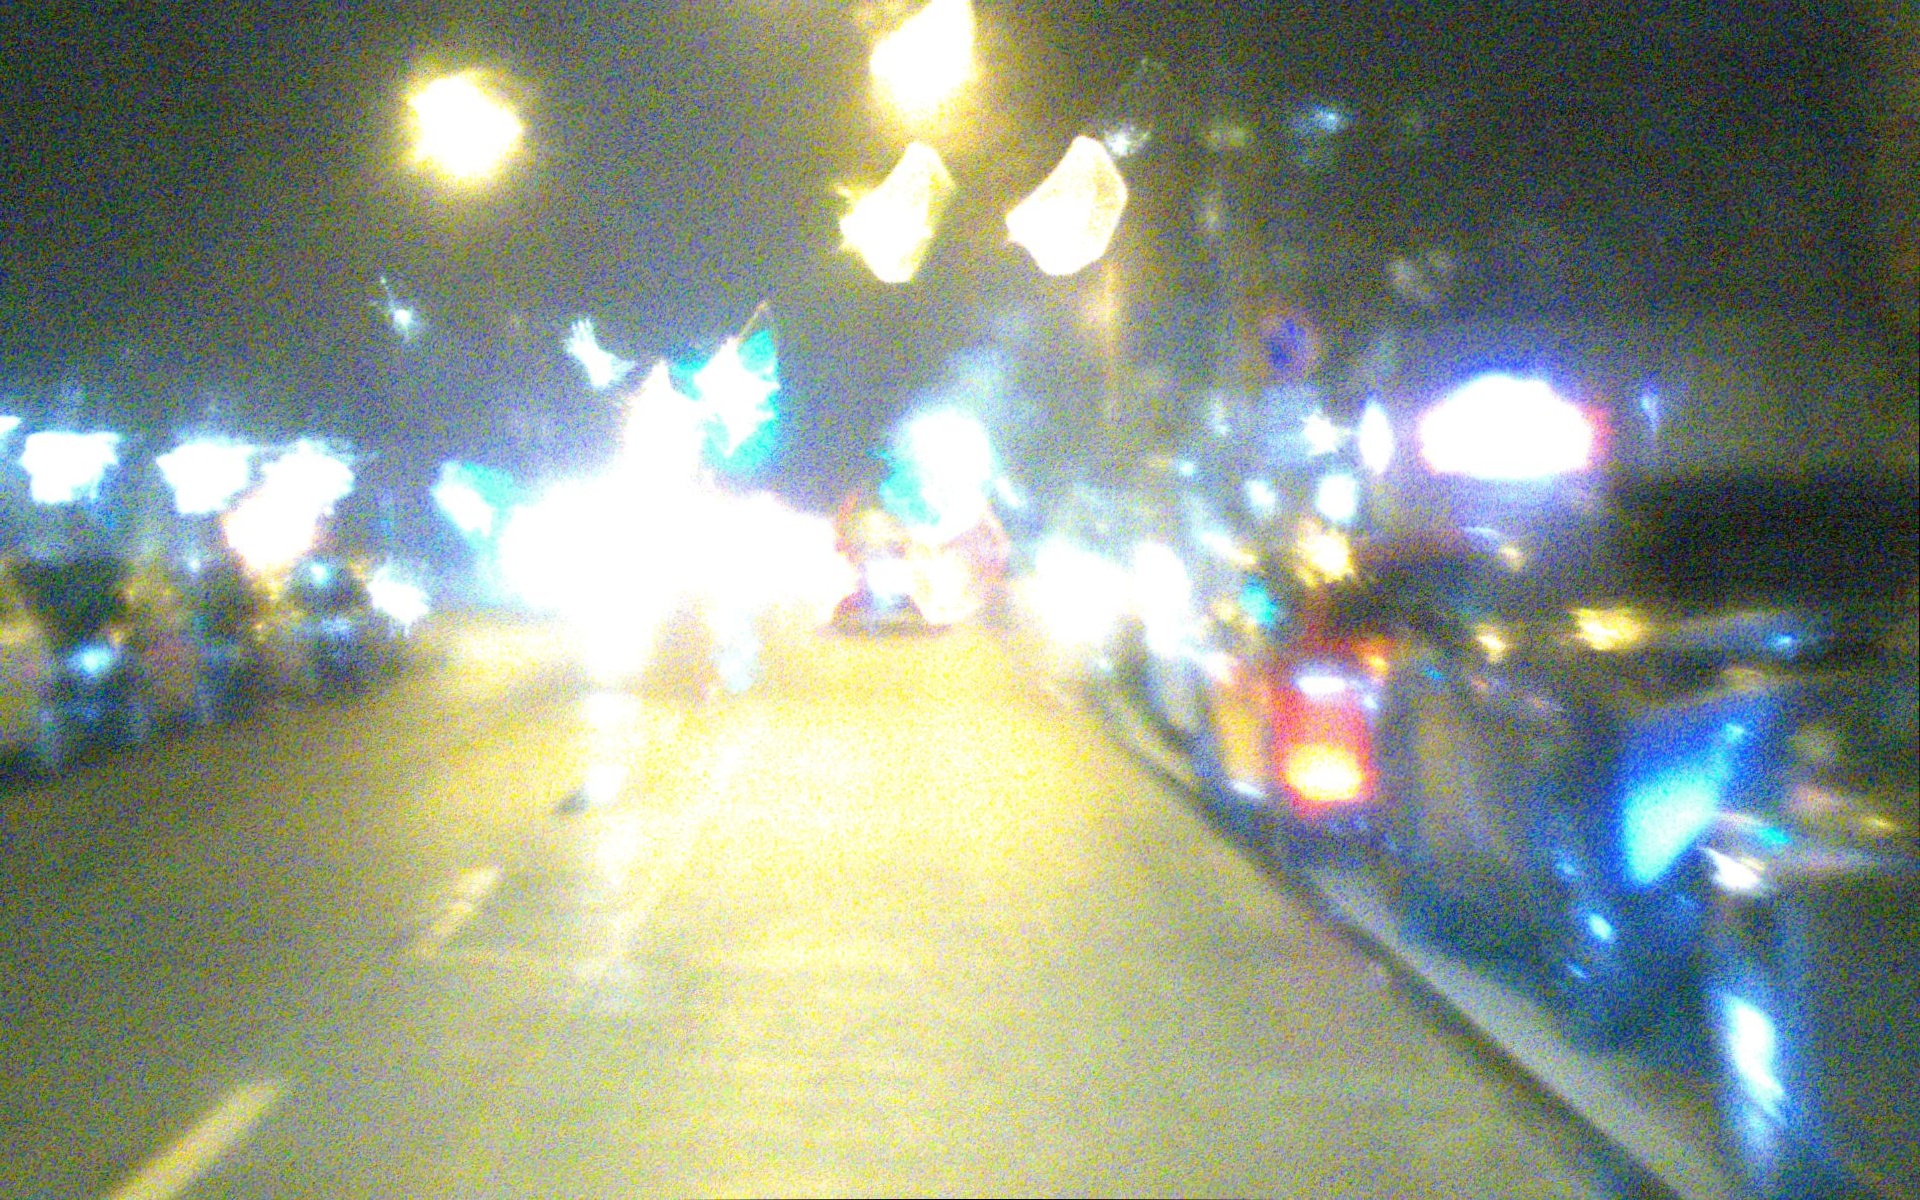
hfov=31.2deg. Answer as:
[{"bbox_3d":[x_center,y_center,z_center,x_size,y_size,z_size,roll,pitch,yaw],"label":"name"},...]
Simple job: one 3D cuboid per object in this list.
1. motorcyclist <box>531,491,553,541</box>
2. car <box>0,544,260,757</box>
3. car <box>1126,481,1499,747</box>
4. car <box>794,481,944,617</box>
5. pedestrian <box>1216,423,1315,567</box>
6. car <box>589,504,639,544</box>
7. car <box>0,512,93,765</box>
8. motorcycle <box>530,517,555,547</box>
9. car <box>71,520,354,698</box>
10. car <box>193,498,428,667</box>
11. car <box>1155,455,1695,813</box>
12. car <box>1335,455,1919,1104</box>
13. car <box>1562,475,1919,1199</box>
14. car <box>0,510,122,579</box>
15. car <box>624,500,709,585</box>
[{"bbox_3d":[-16.869,-3.394,138.691,0.693,2.006,0.983,-2,2,0],"label":"motorcyclist"},{"bbox_3d":[-6.632,0.348,26.489,1.598,1.368,4.068,-5,2,-1],"label":"car"},{"bbox_3d":[2.264,0.012,23.326,1.822,1.525,4.784,-3,2,-2],"label":"car"},{"bbox_3d":[-1.401,-0.815,53.141,2.168,1.965,4.302,-2,2,-1],"label":"car"},{"bbox_3d":[3.396,-1.168,38.251,1.050,1.570,1.018,-1,2,4],"label":"pedestrian"},{"bbox_3d":[-14.373,-3.172,142.732,1.852,1.494,4.771,-2,3,-8],"label":"car"},{"bbox_3d":[-6.496,0.292,20.327,1.598,1.481,4.275,-5,2,-1],"label":"car"},{"bbox_3d":[-16.855,-2.739,138.778,0.701,1.134,2.176,-2,2,0],"label":"motorcycle"},{"bbox_3d":[-6.777,0.026,31.583,1.598,1.368,4.354,-5,2,-1],"label":"car"},{"bbox_3d":[-6.828,-0.241,36.531,1.598,1.558,4.380,-5,2,-1],"label":"car"},{"bbox_3d":[2.092,0.074,16.741,1.822,1.417,4.489,-3,2,-2],"label":"car"},{"bbox_3d":[2.482,0.380,11.173,1.822,1.632,4.489,-3,2,-2],"label":"car"},{"bbox_3d":[2.503,0.528,5.996,1.799,1.525,5.052,-3,2,-2],"label":"car"},{"bbox_3d":[-20.402,-1.244,76.203,1.715,1.426,3.916,-1,2,18],"label":"car"},{"bbox_3d":[-7.732,-1.546,90.597,2.034,1.946,5.201,-4,3,-5],"label":"car"}]
